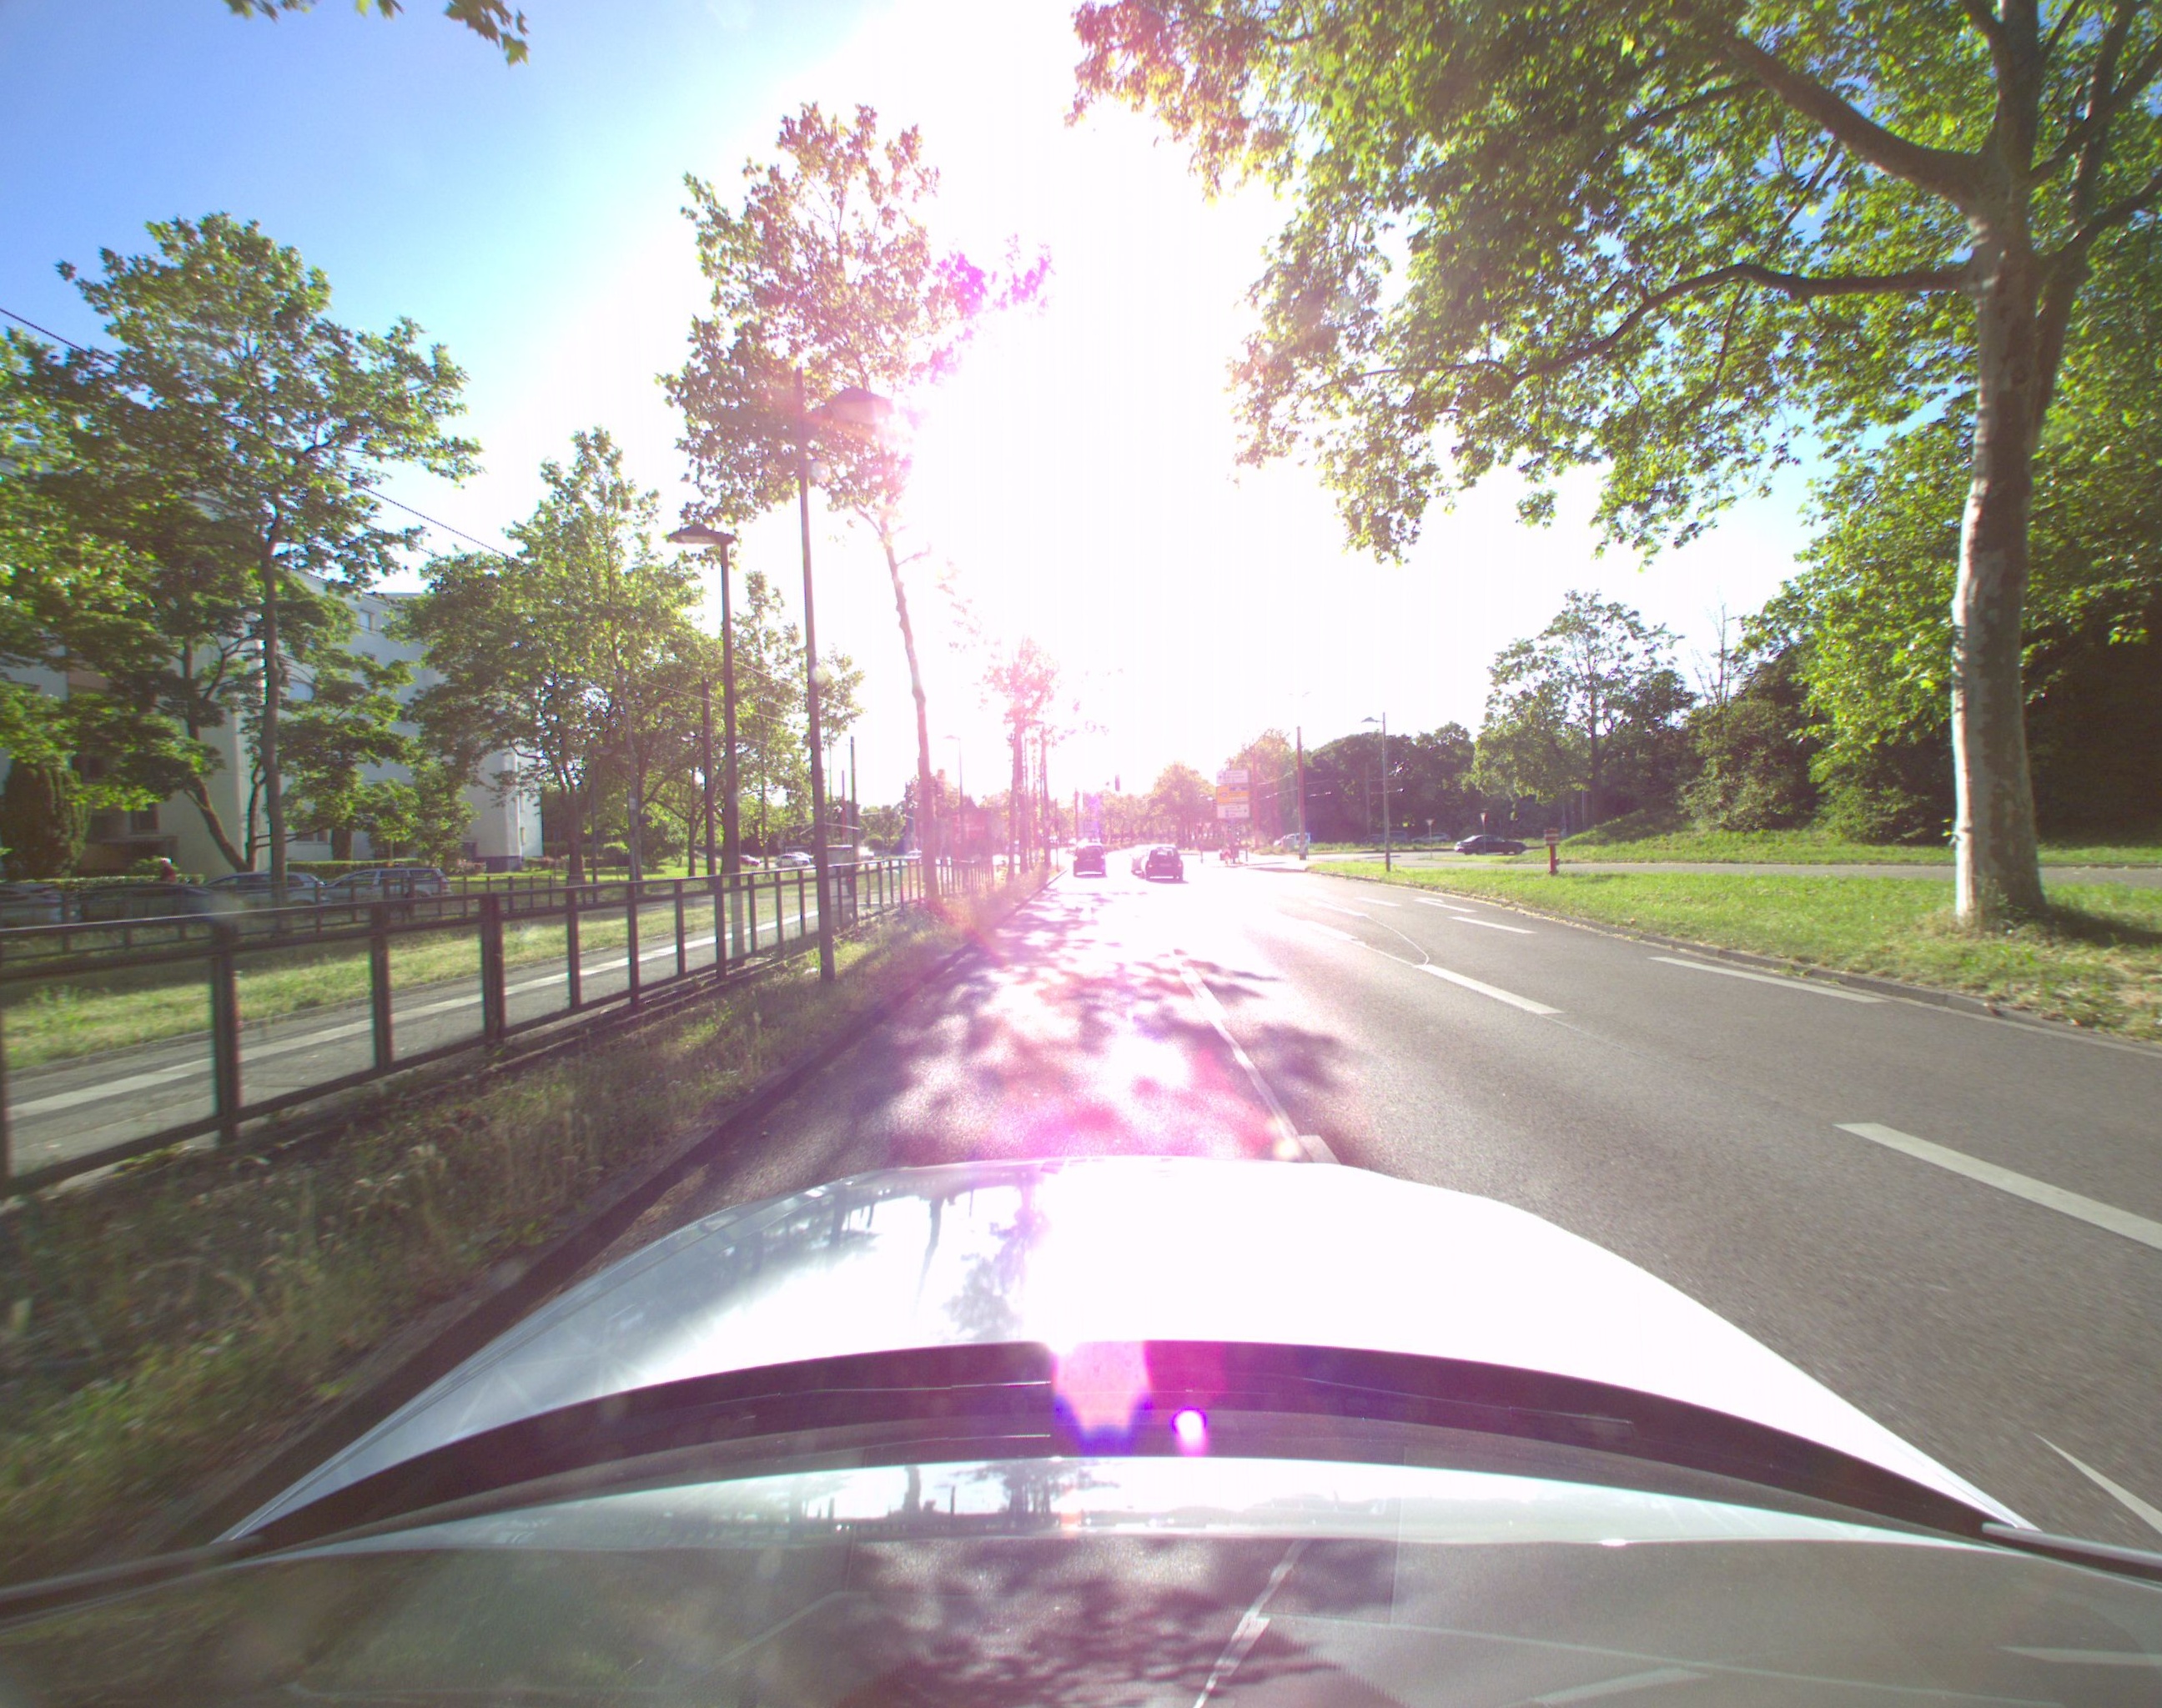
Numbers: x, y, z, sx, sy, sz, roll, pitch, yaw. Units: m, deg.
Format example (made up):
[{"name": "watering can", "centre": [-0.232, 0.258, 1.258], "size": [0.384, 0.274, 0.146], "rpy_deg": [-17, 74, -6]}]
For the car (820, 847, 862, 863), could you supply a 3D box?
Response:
[{"name": "car", "centre": [-28.560, 0.155, 96.981], "size": [4.448, 1.610, 1.910], "rpy_deg": [-2, 3, 19]}]

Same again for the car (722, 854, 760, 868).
[{"name": "car", "centre": [-41.299, 0.870, 98.974], "size": [4.001, 1.435, 1.825], "rpy_deg": [-2, 3, 19]}]

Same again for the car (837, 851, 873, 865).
[{"name": "car", "centre": [-28.721, 0.477, 103.487], "size": [3.954, 1.621, 1.910], "rpy_deg": [-2, 1, 19]}]

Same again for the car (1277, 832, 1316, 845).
[{"name": "car", "centre": [24.228, -1.709, 91.410], "size": [3.950, 1.338, 1.739], "rpy_deg": [0, 0, 26]}]

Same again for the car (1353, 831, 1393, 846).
[{"name": "car", "centre": [32.463, -1.715, 90.604], "size": [3.950, 1.561, 1.911], "rpy_deg": [0, 0, 27]}]

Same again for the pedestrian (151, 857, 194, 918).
[{"name": "pedestrian", "centre": [-27.201, 1.001, 24.384], "size": [0.474, 1.792, 0.717], "rpy_deg": [-1, 0, 0]}]

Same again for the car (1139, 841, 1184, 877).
[{"name": "car", "centre": [3.527, 0.189, 36.077], "size": [1.633, 1.494, 3.503], "rpy_deg": [-1, 1, 0]}]

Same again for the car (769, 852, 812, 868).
[{"name": "car", "centre": [-34.263, 0.678, 96.101], "size": [4.448, 1.610, 1.910], "rpy_deg": [-2, 2, 19]}]

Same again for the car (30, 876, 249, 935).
[{"name": "car", "centre": [-23.518, 1.231, 20.537], "size": [3.401, 1.253, 1.448], "rpy_deg": [-1, 0, -40]}]

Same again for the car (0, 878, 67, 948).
[{"name": "car", "centre": [-23.848, 1.272, 16.881], "size": [1.521, 1.426, 3.404], "rpy_deg": [-1, 0, 44]}]

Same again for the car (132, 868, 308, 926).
[{"name": "car", "centre": [-24.302, 1.168, 23.169], "size": [3.305, 1.431, 1.552], "rpy_deg": [-1, 0, -42]}]

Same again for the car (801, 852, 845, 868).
[{"name": "car", "centre": [-29.566, 0.658, 93.286], "size": [4.448, 1.610, 1.910], "rpy_deg": [-2, 3, 19]}]

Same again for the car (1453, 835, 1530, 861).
[{"name": "car", "centre": [29.400, -0.442, 58.462], "size": [4.587, 1.792, 1.987], "rpy_deg": [0, 0, -2]}]

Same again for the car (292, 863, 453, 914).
[{"name": "car", "centre": [-23.516, 1.093, 27.157], "size": [3.942, 1.476, 1.612], "rpy_deg": [-1, 0, -42]}]

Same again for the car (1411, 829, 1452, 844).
[{"name": "car", "centre": [37.807, -1.840, 87.832], "size": [3.950, 1.495, 1.872], "rpy_deg": [0, 0, 27]}]

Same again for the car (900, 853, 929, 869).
[{"name": "car", "centre": [-15.536, 0.647, 76.103], "size": [1.623, 1.449, 3.724], "rpy_deg": [-1, 0, 5]}]

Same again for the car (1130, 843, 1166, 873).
[{"name": "car", "centre": [3.461, 0.174, 42.718], "size": [1.672, 1.475, 4.132], "rpy_deg": [-1, 0, 2]}]

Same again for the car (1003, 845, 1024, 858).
[{"name": "car", "centre": [-9.525, -0.419, 115.266], "size": [1.812, 1.780, 4.580], "rpy_deg": [0, 0, 10]}]

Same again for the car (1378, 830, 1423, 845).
[{"name": "car", "centre": [33.893, -1.738, 86.441], "size": [4.311, 1.559, 1.883], "rpy_deg": [0, 0, 25]}]

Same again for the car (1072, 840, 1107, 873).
[{"name": "car", "centre": [0.445, 0.118, 42.137], "size": [1.705, 1.603, 3.349], "rpy_deg": [-1, 0, 0]}]
